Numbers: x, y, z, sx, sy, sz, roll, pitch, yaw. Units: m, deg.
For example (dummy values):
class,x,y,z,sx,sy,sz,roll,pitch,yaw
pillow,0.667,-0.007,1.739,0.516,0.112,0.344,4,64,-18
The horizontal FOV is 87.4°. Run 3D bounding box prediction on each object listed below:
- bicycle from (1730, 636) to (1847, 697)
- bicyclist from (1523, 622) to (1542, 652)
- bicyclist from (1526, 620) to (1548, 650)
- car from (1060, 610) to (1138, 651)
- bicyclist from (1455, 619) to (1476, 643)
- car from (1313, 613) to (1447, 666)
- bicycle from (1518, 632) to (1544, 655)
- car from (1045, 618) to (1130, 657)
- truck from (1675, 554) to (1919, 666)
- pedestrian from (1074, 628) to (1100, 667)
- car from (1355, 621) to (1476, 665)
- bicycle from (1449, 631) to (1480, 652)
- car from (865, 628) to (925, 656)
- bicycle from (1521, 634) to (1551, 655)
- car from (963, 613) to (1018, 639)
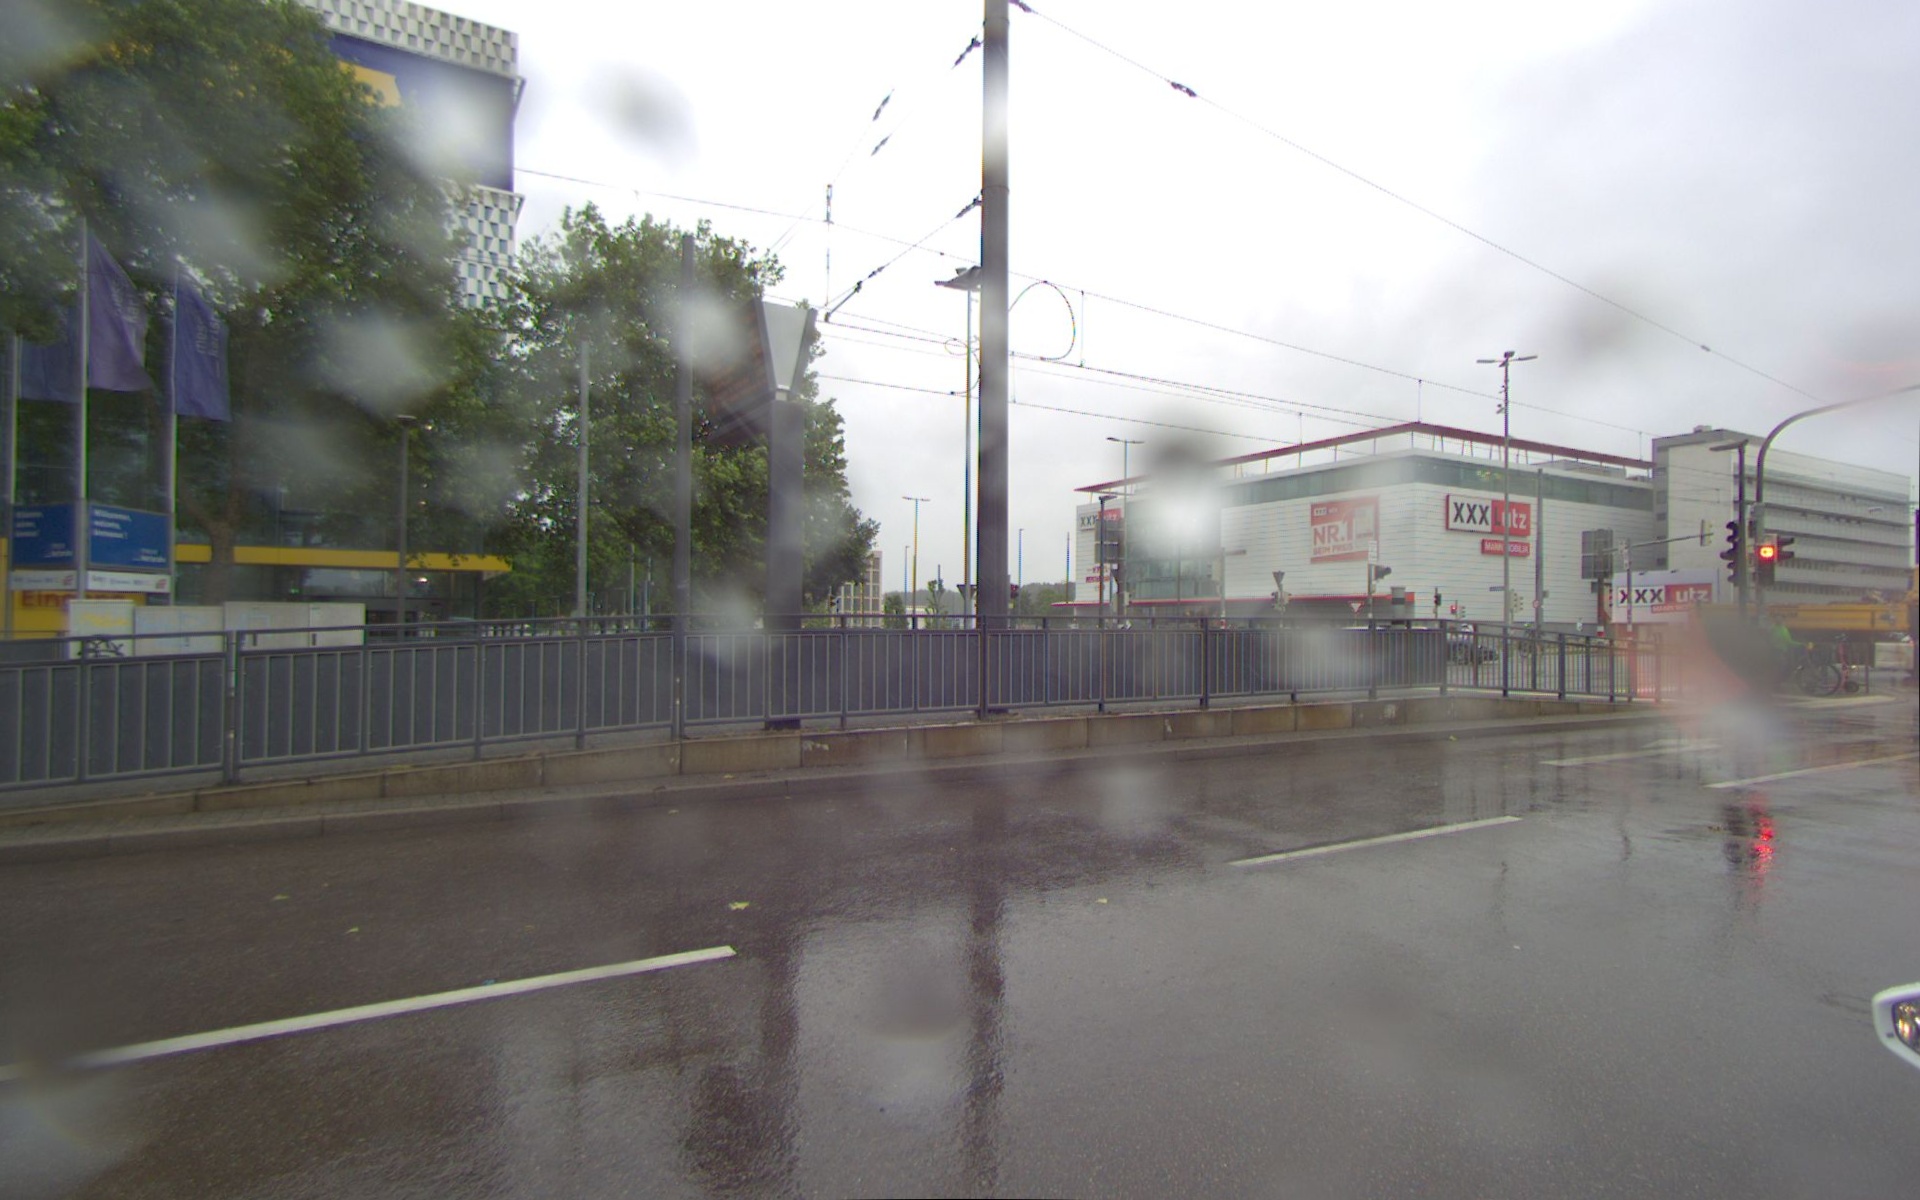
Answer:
class,x,y,z,sx,sy,sz,roll,pitch,yaw
bicycle,16.776,1.325,20.377,0.409,1.048,1.742,2,3,-31
bicyclist,27.539,1.788,48.291,0.643,1.418,0.529,2,0,-33
bicyclist,28.958,1.772,50.398,0.639,1.483,0.681,2,0,-29
car,7.523,1.621,54.621,1.976,2.040,4.295,2,0,-29
bicyclist,24.801,1.529,49.273,0.639,1.149,0.681,2,0,-29
car,14.762,1.351,35.442,4.024,1.682,1.610,1,0,45
bicycle,27.406,2.114,48.228,1.492,1.075,0.408,2,0,-32
car,6.268,1.830,49.687,1.980,1.711,3.960,2,0,-35
truck,24.040,0.266,27.524,7.021,2.854,2.635,1,0,32
pedestrian,5.154,1.928,40.900,0.863,1.557,0.560,2,0,-31
car,16.918,1.561,37.416,1.827,1.429,3.695,2,0,-43
bicycle,24.730,2.035,49.225,1.688,1.000,0.448,2,0,-30
car,-4.545,2.895,69.675,1.985,1.656,4.167,1,2,-41
bicycle,28.874,2.225,50.345,1.688,1.000,0.448,2,0,-30
car,2.165,1.825,70.212,3.723,1.645,2.001,2,0,2
